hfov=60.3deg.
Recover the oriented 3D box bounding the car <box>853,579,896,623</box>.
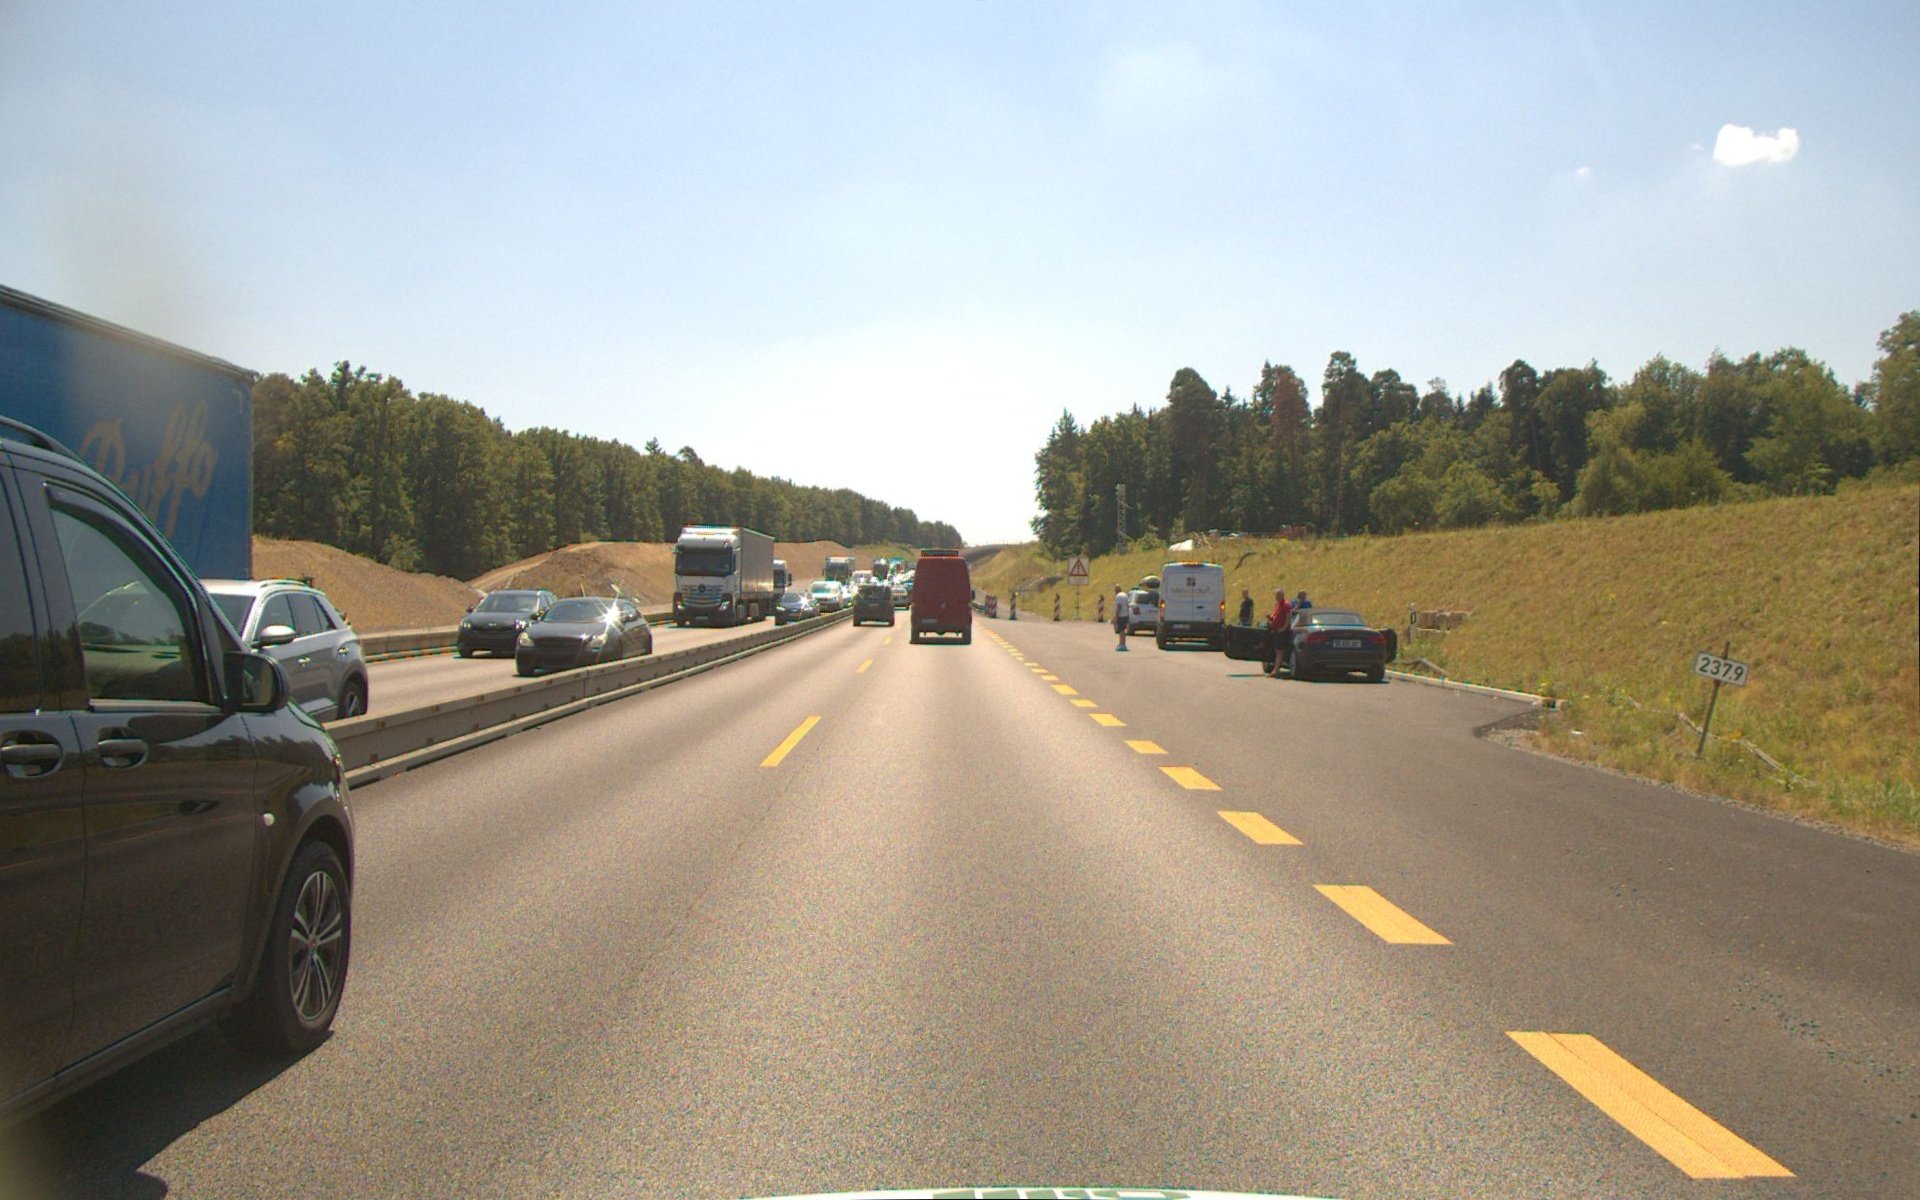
[{"bbox_3d":[-3.801,0.027,73.977,1.716,1.856,4.781,1,0,-1],"label":"car"}]

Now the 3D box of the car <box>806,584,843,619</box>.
[{"bbox_3d":[-7.744,0.111,95.128,1.788,1.960,5.261,1,-1,-2],"label":"car"}]

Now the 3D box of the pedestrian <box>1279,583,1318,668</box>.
[{"bbox_3d":[7.576,0.559,36.995,0.613,1.860,0.640,1,0,-13],"label":"pedestrian"}]

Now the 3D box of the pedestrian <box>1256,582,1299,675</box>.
[{"bbox_3d":[6.436,0.566,33.536,0.631,1.860,0.555,1,0,-22],"label":"pedestrian"}]

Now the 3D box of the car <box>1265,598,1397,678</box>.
[{"bbox_3d":[7.508,0.728,33.858,1.620,1.451,4.544,-1,1,0],"label":"car"}]

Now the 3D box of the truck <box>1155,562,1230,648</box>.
[{"bbox_3d":[7.249,0.120,52.037,2.085,2.500,5.929,1,0,6],"label":"truck"}]

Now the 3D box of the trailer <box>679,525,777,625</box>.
[{"bbox_3d":[-10.468,-1.082,75.982,2.734,4.146,13.708,1,0,-1],"label":"trailer"}]

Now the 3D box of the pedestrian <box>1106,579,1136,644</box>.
[{"bbox_3d":[4.669,0.347,48.078,0.709,1.860,0.719,1,-1,-6],"label":"pedestrian"}]

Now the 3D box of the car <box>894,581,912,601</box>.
[{"bbox_3d":[-6.272,-0.977,182.460,1.953,2.049,3.998,1,-1,-1],"label":"car"}]

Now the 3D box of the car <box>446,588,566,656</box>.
[{"bbox_3d":[-10.354,0.500,38.046,1.597,1.449,4.500,1,-1,-2],"label":"car"}]

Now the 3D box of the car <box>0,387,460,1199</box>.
[{"bbox_3d":[-2.887,0.491,3.819,1.836,1.883,5.477,1,0,-1],"label":"car"}]

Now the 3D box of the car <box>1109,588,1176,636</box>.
[{"bbox_3d":[7.207,0.437,65.656,1.739,1.706,4.851,2,1,-4],"label":"car"}]

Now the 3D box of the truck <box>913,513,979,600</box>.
[{"bbox_3d":[-1.060,-2.961,120.028,4.311,5.592,16.599,1,-1,-1],"label":"truck"}]

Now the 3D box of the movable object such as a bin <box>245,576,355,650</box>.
[{"bbox_3d":[-30.190,0.533,75.944,2.124,3.163,7.164,-1,1,0],"label":"movable object such as a bin"}]

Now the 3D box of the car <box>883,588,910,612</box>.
[{"bbox_3d":[-4.469,0.011,116.352,1.794,1.549,3.960,1,-1,-1],"label":"car"}]

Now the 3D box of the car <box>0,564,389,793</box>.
[{"bbox_3d":[-6.282,0.549,13.713,1.740,1.582,4.138,-1,0,-2],"label":"car"}]

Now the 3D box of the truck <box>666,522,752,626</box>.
[{"bbox_3d":[-10.349,-1.021,68.607,2.712,4.115,4.942,1,-1,0],"label":"truck"}]

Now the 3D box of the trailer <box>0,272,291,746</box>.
[{"bbox_3d":[-9.427,-0.789,13.231,2.599,4.007,13.993,1,0,-1],"label":"trailer"}]

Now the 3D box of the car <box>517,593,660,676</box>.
[{"bbox_3d":[-6.909,0.637,31.241,1.694,1.411,4.858,1,-1,-2],"label":"car"}]

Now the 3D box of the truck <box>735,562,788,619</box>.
[{"bbox_3d":[-11.271,-0.500,94.402,2.349,3.112,5.062,1,-1,0],"label":"truck"}]

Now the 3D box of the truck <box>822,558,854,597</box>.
[{"bbox_3d":[-12.240,-2.188,166.218,2.457,3.680,9.639,1,-1,0],"label":"truck"}]

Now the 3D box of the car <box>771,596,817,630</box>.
[{"bbox_3d":[-7.310,0.585,73.145,1.692,1.411,4.482,1,-1,-2],"label":"car"}]

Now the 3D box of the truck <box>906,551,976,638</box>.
[{"bbox_3d":[-0.665,-0.129,53.722,2.109,2.635,5.331,1,-1,-2],"label":"truck"}]

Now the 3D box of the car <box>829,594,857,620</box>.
[{"bbox_3d":[-7.851,0.484,111.121,1.690,1.659,4.389,1,-1,-2],"label":"car"}]

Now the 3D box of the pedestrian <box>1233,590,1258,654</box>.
[{"bbox_3d":[8.317,0.632,48.163,0.552,1.827,0.667,1,-1,-3],"label":"pedestrian"}]
